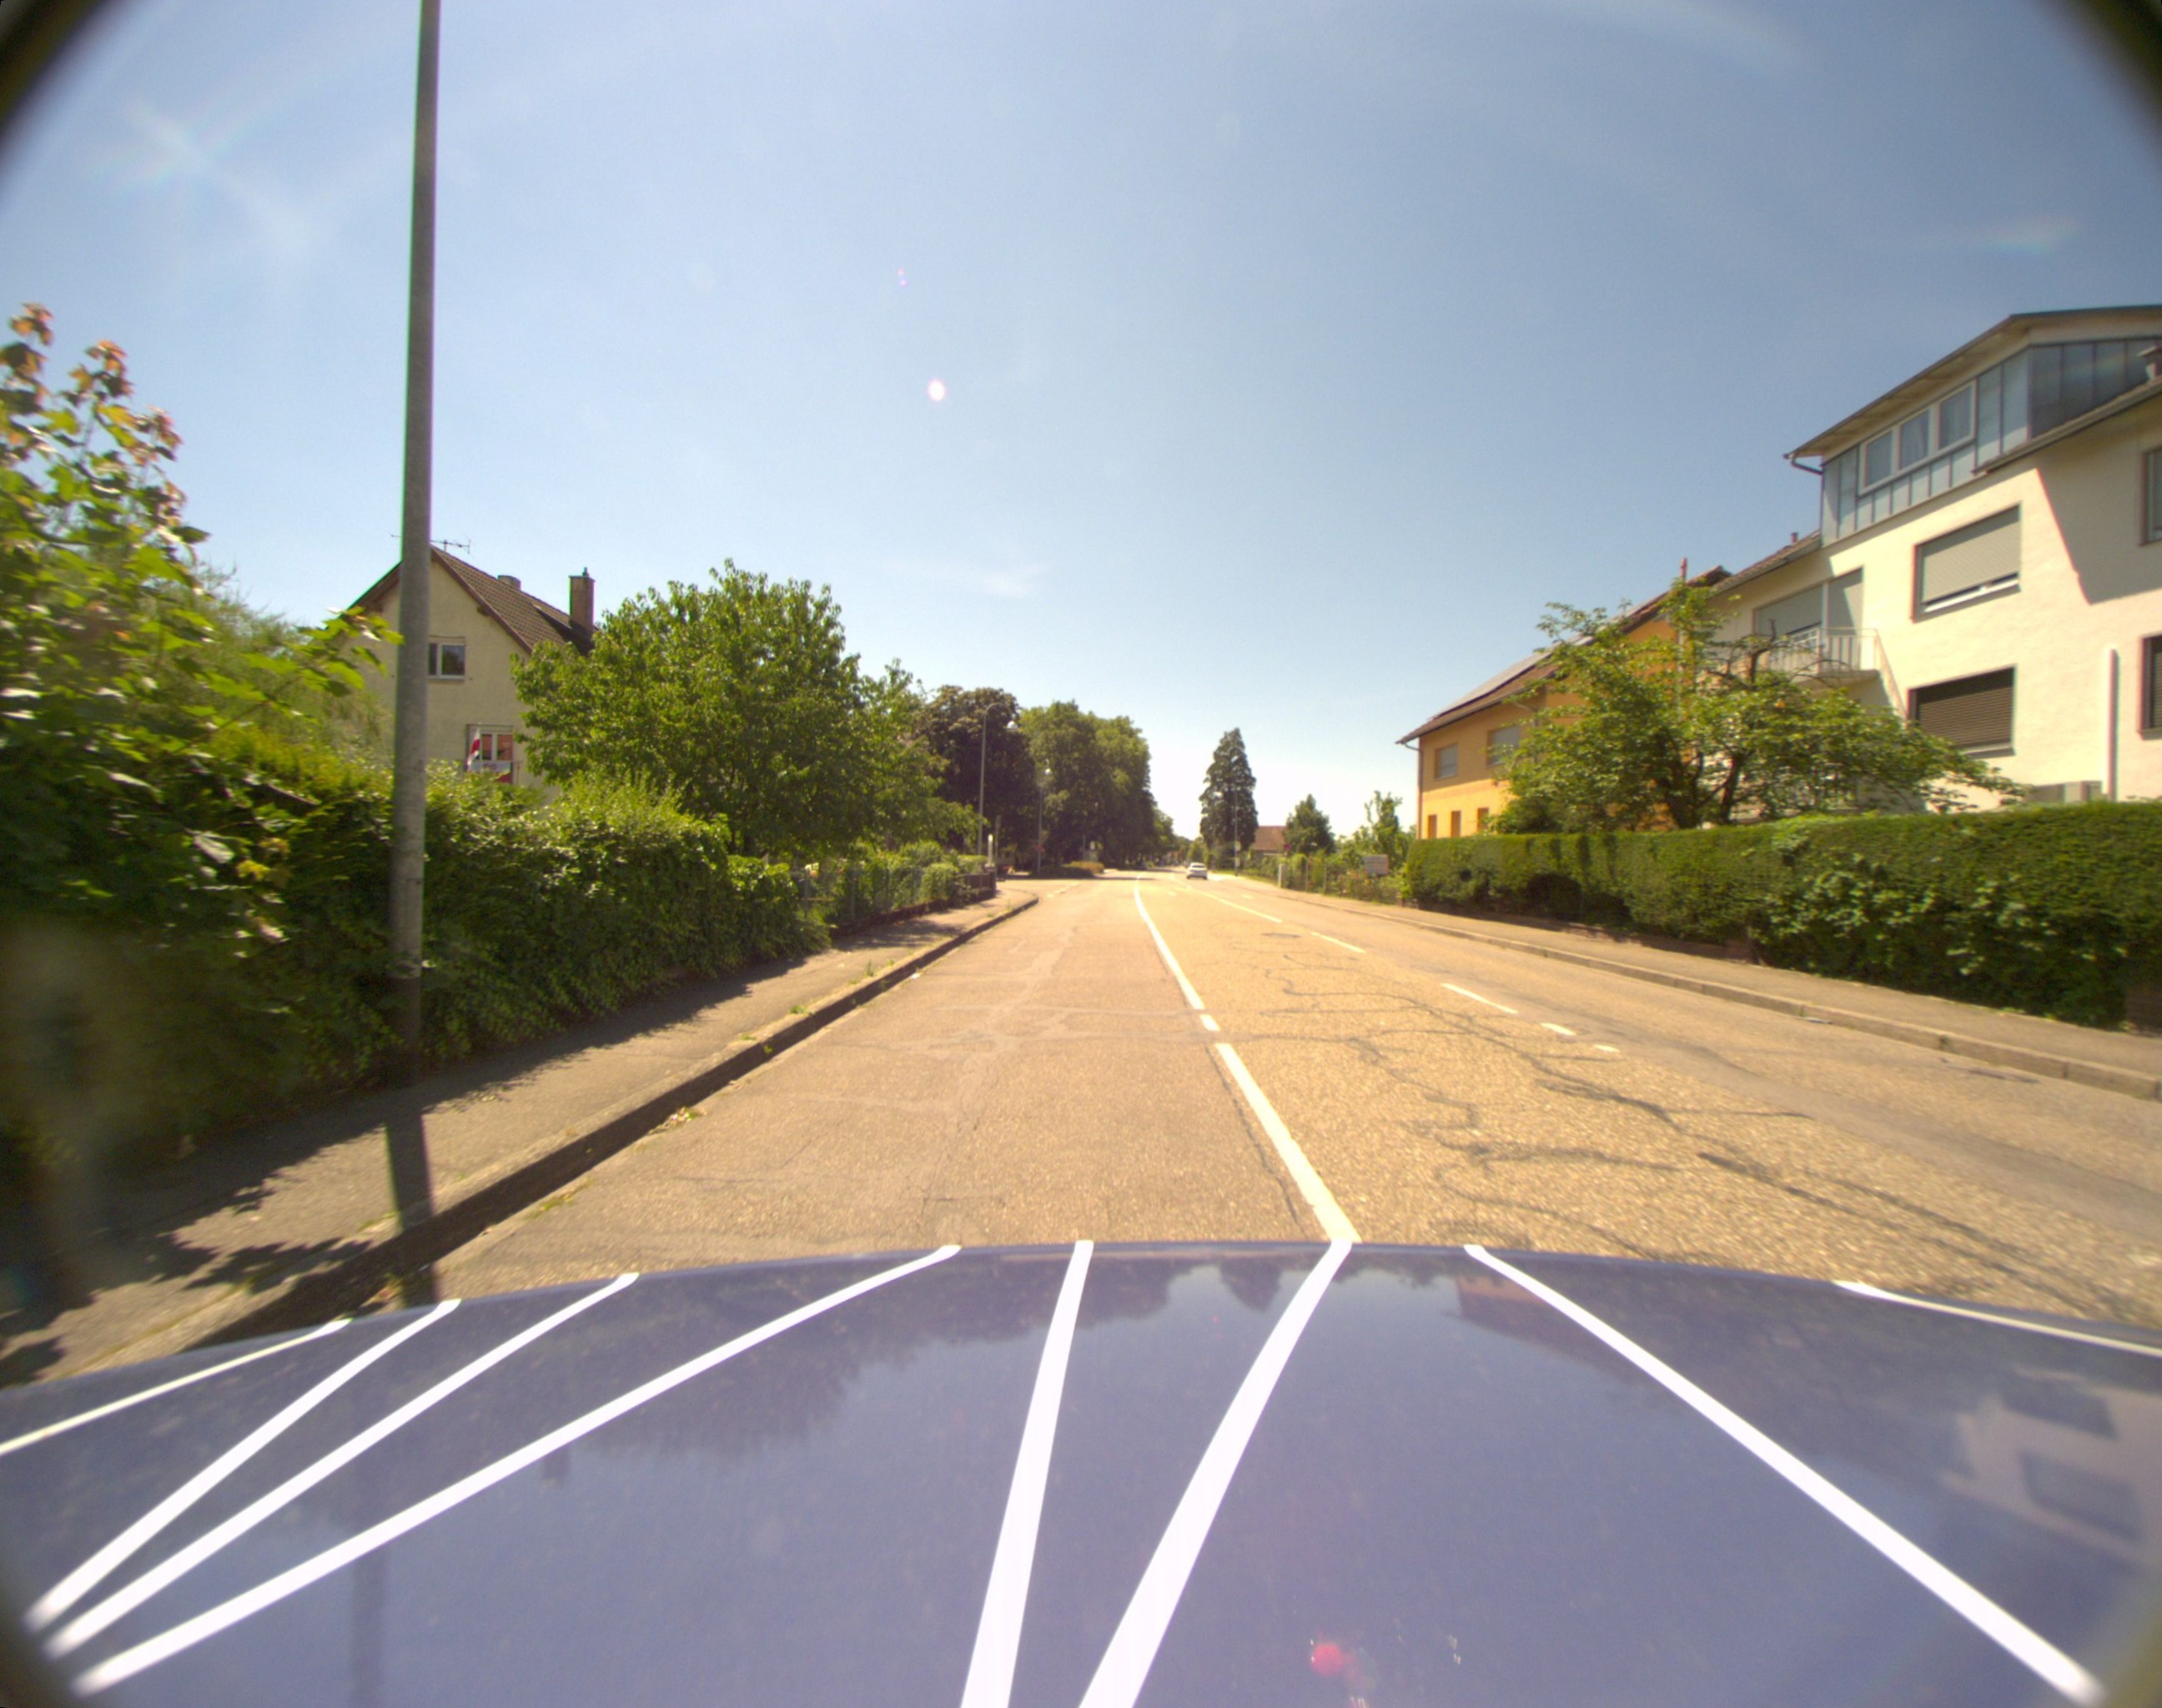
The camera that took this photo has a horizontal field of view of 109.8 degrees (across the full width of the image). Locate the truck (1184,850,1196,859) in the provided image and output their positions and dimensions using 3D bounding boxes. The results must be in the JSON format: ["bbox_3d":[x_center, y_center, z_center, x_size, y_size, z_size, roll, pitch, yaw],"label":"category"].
[{"bbox_3d":[28.733,0.065,201.232,2.622,2.228,6.259,1,0,4],"label":"truck"}]

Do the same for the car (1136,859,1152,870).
[{"bbox_3d":[9.396,1.535,113.318,1.882,1.623,4.324,2,0,10],"label":"car"}]

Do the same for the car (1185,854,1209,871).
[{"bbox_3d":[10.224,0.765,67.416,1.684,1.364,4.207,3,0,3],"label":"car"}]
